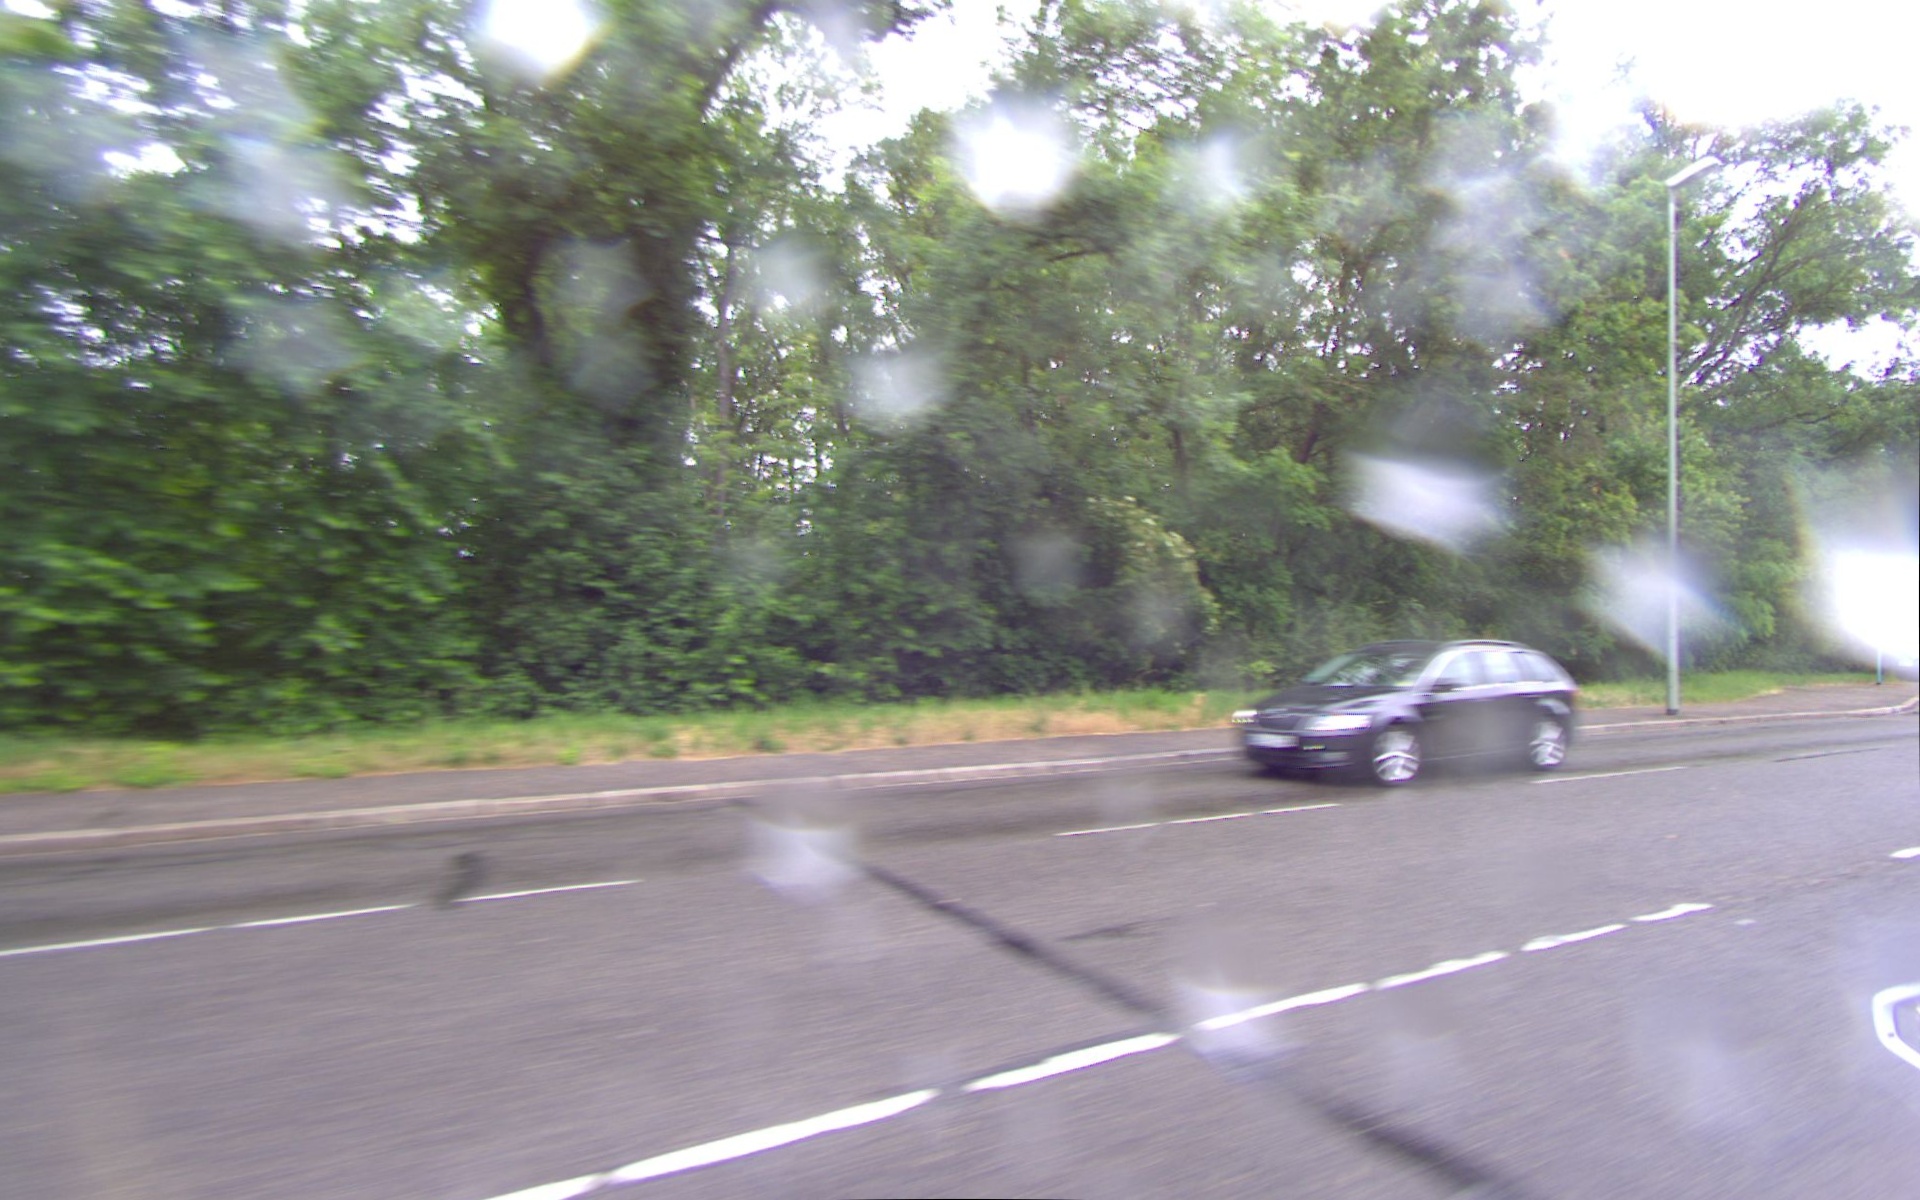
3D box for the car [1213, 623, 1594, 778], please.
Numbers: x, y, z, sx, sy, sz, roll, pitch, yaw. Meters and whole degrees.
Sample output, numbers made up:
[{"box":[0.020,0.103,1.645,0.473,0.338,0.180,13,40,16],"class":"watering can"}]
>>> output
[{"box":[5.053,1.032,11.304,4.338,1.450,1.736,2,-2,-30],"class":"car"}]
